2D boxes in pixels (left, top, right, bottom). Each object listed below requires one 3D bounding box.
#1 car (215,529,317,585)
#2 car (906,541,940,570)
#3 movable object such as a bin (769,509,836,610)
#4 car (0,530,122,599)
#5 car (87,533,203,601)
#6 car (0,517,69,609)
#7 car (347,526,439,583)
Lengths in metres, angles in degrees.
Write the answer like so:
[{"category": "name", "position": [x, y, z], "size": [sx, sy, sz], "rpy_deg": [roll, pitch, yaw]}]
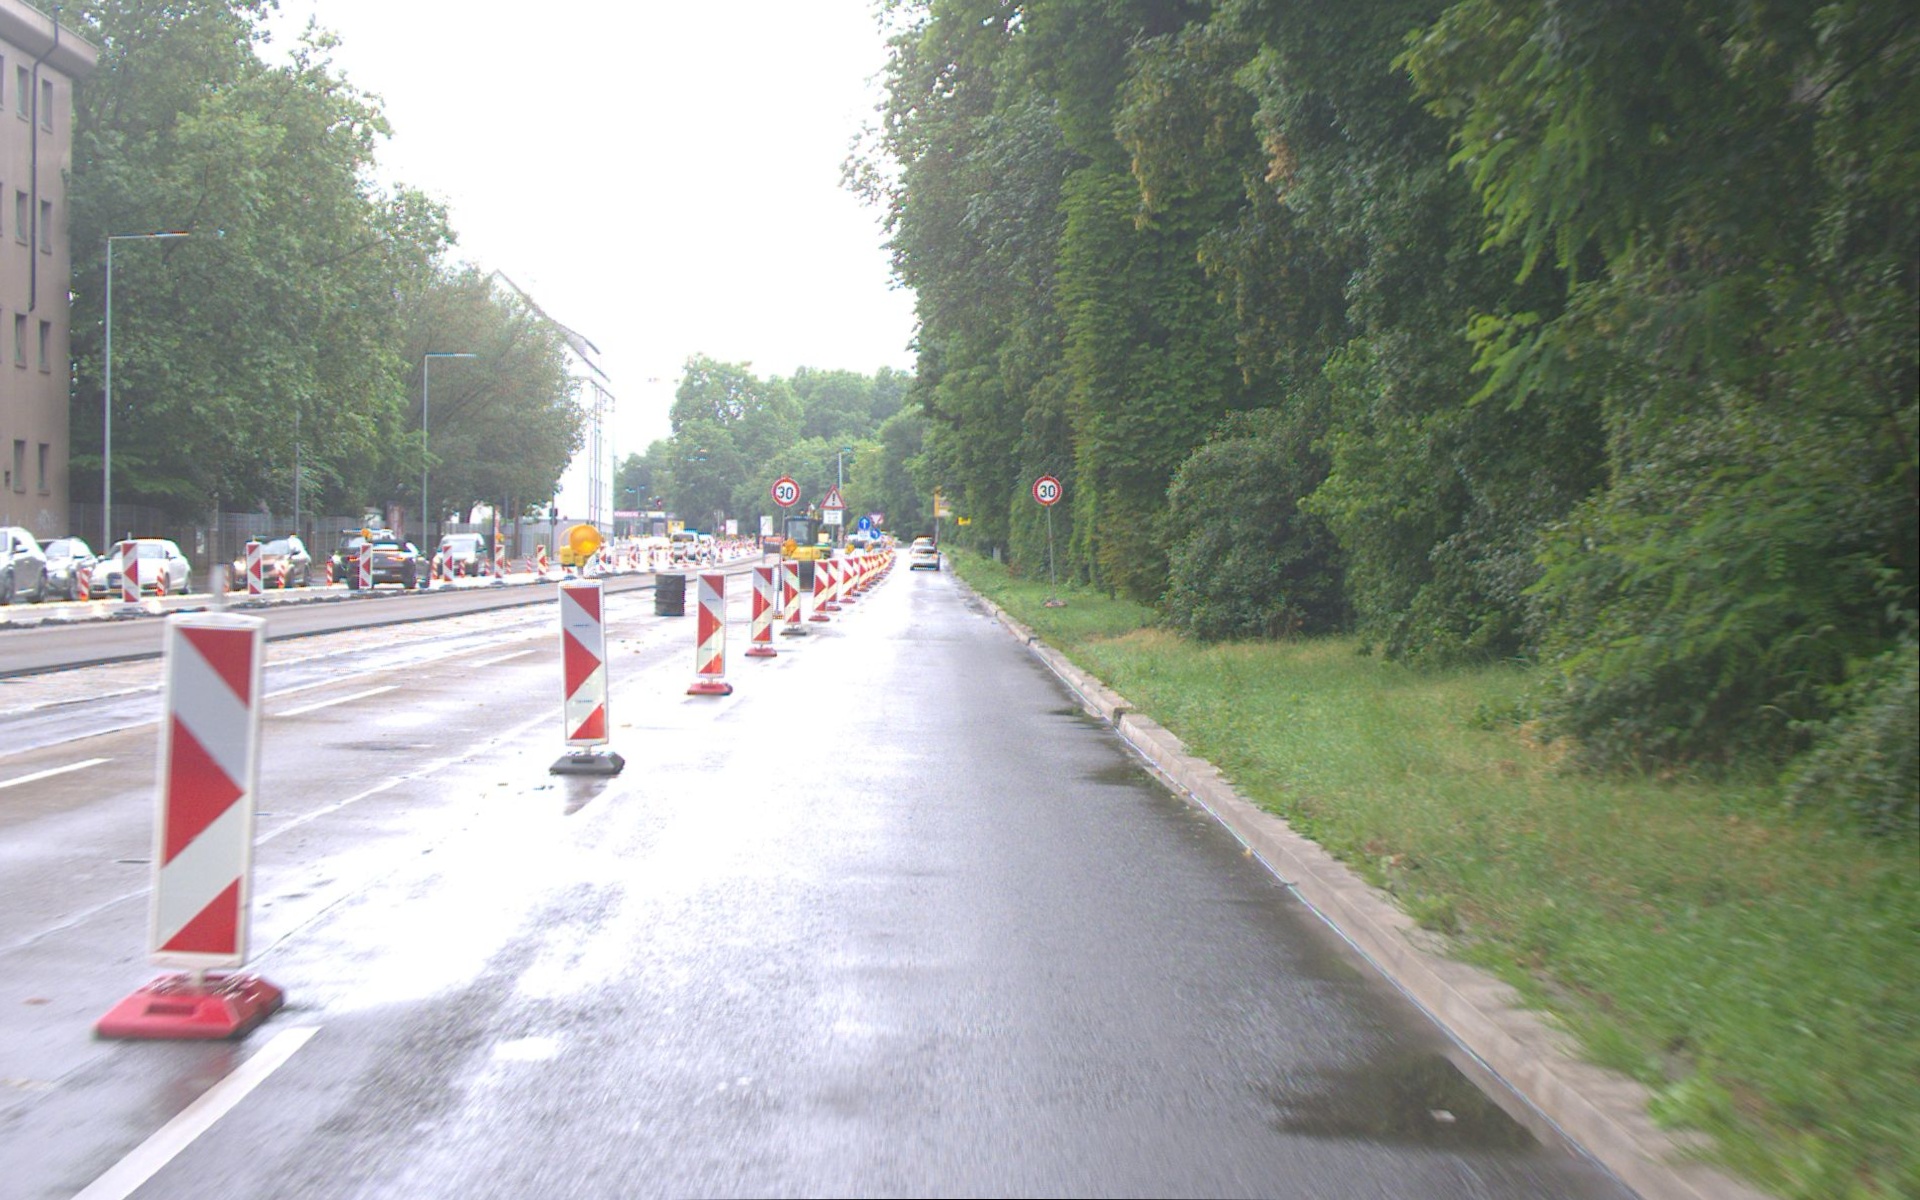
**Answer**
[{"category": "car", "position": [-19.708, -1.219, 97.822], "size": [1.894, 1.497, 4.516], "rpy_deg": [2, 0, 1]}, {"category": "car", "position": [-2.245, -2.670, 208.120], "size": [1.993, 1.667, 4.000], "rpy_deg": [2, 0, 0]}, {"category": "movable object such as a bin", "position": [-5.417, -1.405, 119.025], "size": [1.993, 3.356, 5.982], "rpy_deg": [2, 0, 0]}, {"category": "car", "position": [-22.059, -0.865, 84.347], "size": [1.993, 1.581, 4.179], "rpy_deg": [2, 0, -1]}, {"category": "car", "position": [-19.231, -0.782, 81.276], "size": [1.803, 1.529, 3.992], "rpy_deg": [2, 0, -1]}, {"category": "car", "position": [-19.332, -0.751, 68.229], "size": [1.989, 1.762, 4.674], "rpy_deg": [2, 0, 1]}, {"category": "car", "position": [-16.075, -1.279, 97.634], "size": [1.993, 1.514, 4.000], "rpy_deg": [2, 0, -1]}]
